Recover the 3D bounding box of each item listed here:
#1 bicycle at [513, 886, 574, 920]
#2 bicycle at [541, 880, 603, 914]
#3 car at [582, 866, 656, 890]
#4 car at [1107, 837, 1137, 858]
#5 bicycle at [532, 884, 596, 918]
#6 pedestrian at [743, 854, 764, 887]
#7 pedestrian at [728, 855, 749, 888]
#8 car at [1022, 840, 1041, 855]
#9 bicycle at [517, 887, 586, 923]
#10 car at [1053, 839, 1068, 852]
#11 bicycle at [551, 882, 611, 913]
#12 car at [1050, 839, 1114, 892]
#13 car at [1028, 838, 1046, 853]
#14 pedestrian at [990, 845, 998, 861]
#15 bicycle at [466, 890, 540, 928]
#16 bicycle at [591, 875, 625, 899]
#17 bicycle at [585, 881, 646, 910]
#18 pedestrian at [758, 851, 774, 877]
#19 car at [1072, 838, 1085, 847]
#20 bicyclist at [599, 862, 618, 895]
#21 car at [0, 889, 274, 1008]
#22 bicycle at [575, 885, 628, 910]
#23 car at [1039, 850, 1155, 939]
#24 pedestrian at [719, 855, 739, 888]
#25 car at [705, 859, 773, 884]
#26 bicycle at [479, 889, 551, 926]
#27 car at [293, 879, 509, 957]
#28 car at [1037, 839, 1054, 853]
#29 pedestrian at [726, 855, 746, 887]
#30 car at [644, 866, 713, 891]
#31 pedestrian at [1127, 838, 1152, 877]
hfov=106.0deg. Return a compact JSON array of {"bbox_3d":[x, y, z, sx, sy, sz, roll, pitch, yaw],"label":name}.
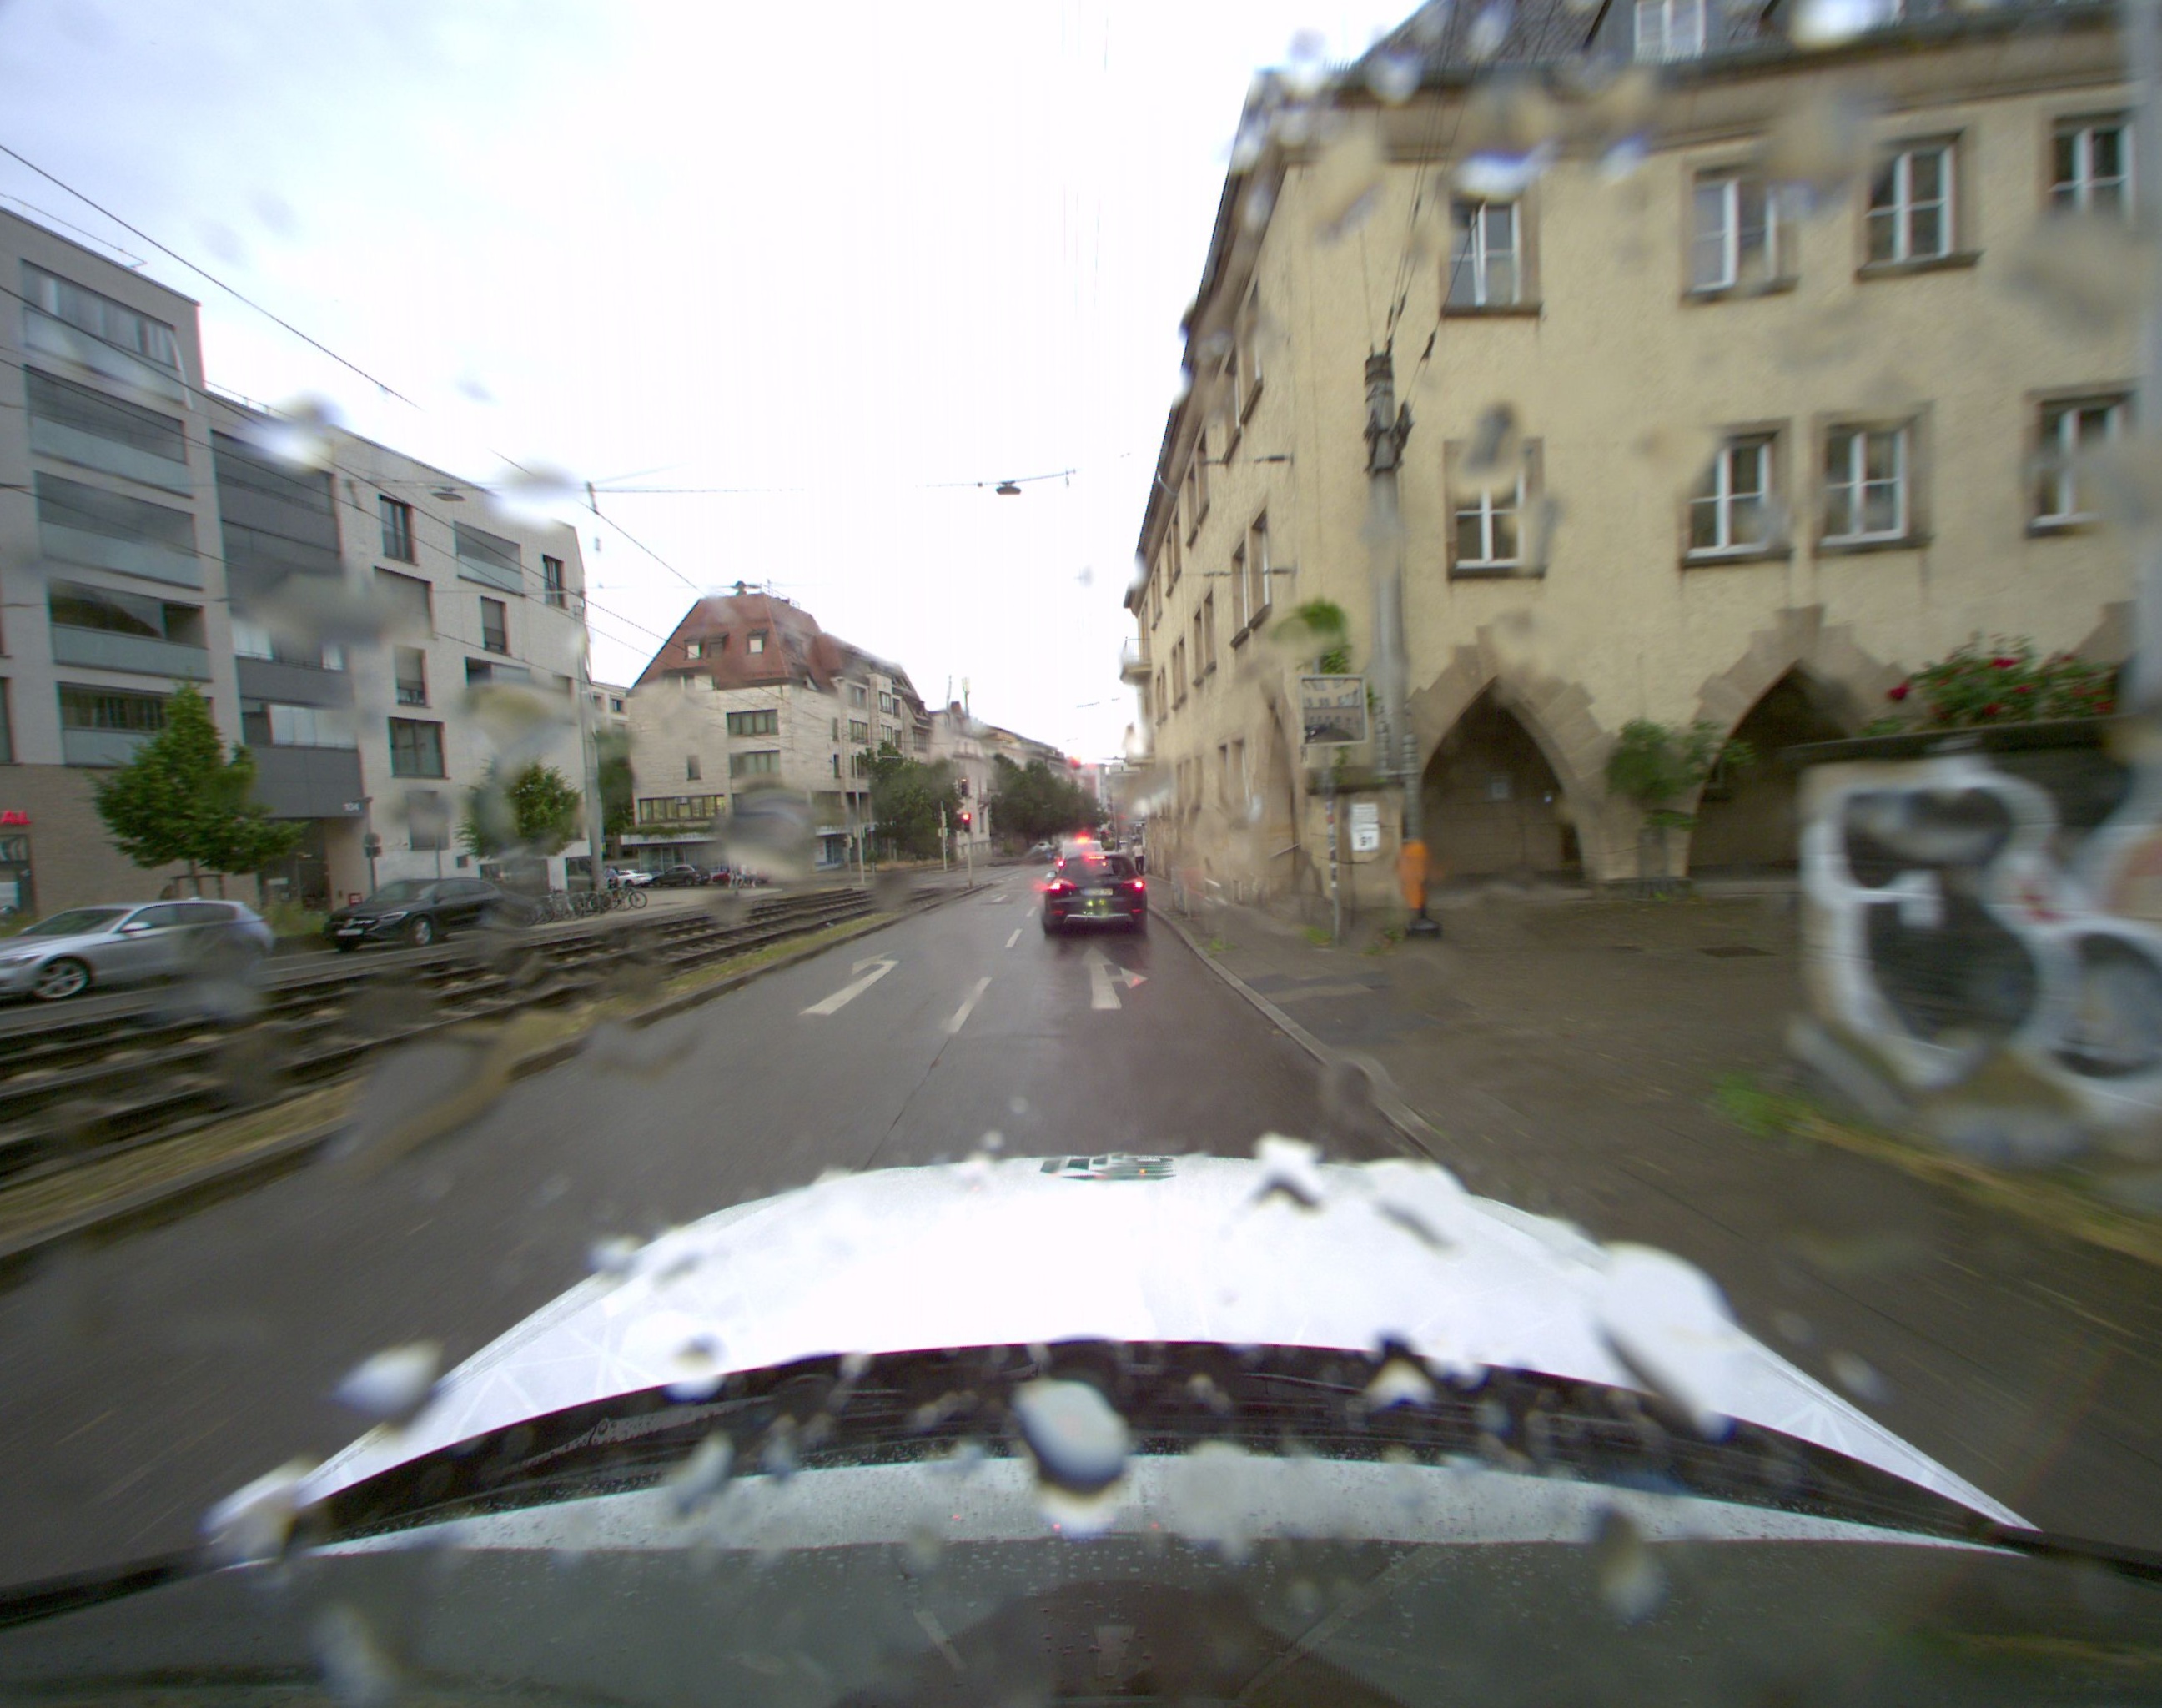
[{"bbox_3d":[-18.256,1.672,27.671,1.762,1.071,0.486,-2,0,2],"label":"bicycle"},{"bbox_3d":[-18.428,1.547,29.501,1.803,1.108,0.452,-2,0,-20],"label":"bicycle"},{"bbox_3d":[-34.050,1.764,60.100,4.434,1.568,1.913,-2,0,8],"label":"car"},{"bbox_3d":[3.661,-0.583,71.907,1.981,1.772,4.012,-2,1,11],"label":"car"},{"bbox_3d":[-18.164,1.647,28.646,1.800,1.064,0.455,-2,0,-15],"label":"bicycle"},{"bbox_3d":[-21.022,1.054,52.263,0.939,2.013,0.765,-2,0,-1],"label":"pedestrian"},{"bbox_3d":[-22.016,1.110,52.326,0.940,2.013,0.764,-2,0,-4],"label":"pedestrian"},{"bbox_3d":[-6.613,-0.883,109.477,1.984,2.013,4.005,-2,1,5],"label":"car"},{"bbox_3d":[-17.374,1.662,26.737,1.800,1.064,0.455,-2,0,-15],"label":"bicycle"},{"bbox_3d":[-3.328,-1.338,133.006,1.984,2.013,4.005,-2,1,5],"label":"car"},{"bbox_3d":[-18.833,1.645,30.711,1.798,1.064,0.567,-2,0,-13],"label":"bicycle"},{"bbox_3d":[-0.034,0.380,31.044,2.132,1.745,4.213,-3,1,-3],"label":"car"},{"bbox_3d":[-6.214,-1.265,115.676,1.984,2.013,4.005,-2,1,5],"label":"car"},{"bbox_3d":[-11.028,-0.138,103.032,0.941,2.013,0.762,-2,0,-10],"label":"pedestrian"},{"bbox_3d":[-17.570,1.676,24.776,1.795,1.064,0.456,-2,0,-8],"label":"bicycle"},{"bbox_3d":[-22.757,1.576,39.211,0.454,1.064,1.803,-2,1,2],"label":"bicycle"},{"bbox_3d":[-18.644,1.662,32.655,1.949,1.027,0.719,-2,0,-9],"label":"bicycle"},{"bbox_3d":[-24.440,0.767,63.197,0.903,1.931,0.824,-3,0,-5],"label":"pedestrian"},{"bbox_3d":[-0.442,-2.066,146.156,1.984,1.662,4.005,-2,1,5],"label":"car"},{"bbox_3d":[-22.765,1.180,39.237,0.459,1.574,0.702,-2,0,2],"label":"bicyclist"},{"bbox_3d":[-16.362,1.480,13.606,1.769,1.504,4.079,-3,0,-3],"label":"car"},{"bbox_3d":[-18.551,1.684,31.526,1.650,0.866,0.567,-2,0,-11],"label":"bicycle"},{"bbox_3d":[0.176,0.678,15.899,1.916,1.479,3.994,-1,0,-4],"label":"car"},{"bbox_3d":[-22.741,1.123,52.629,0.940,2.013,0.764,-2,0,-4],"label":"pedestrian"},{"bbox_3d":[-24.625,1.263,58.674,4.109,1.568,1.828,-2,0,8],"label":"car"},{"bbox_3d":[-17.793,1.663,25.635,1.797,1.064,0.456,-2,0,-12],"label":"bicycle"},{"bbox_3d":[-16.703,1.483,20.348,1.908,1.504,4.231,-3,0,-3],"label":"car"},{"bbox_3d":[-5.260,-1.216,122.117,1.984,2.013,4.005,-2,1,5],"label":"car"},{"bbox_3d":[-22.822,1.121,53.929,0.940,2.013,0.764,-2,0,-4],"label":"pedestrian"},{"bbox_3d":[-29.405,1.761,59.497,4.109,1.568,1.828,-2,0,8],"label":"car"},{"bbox_3d":[2.804,0.161,39.161,1.042,1.795,0.901,-2,0,-2],"label":"pedestrian"}]
